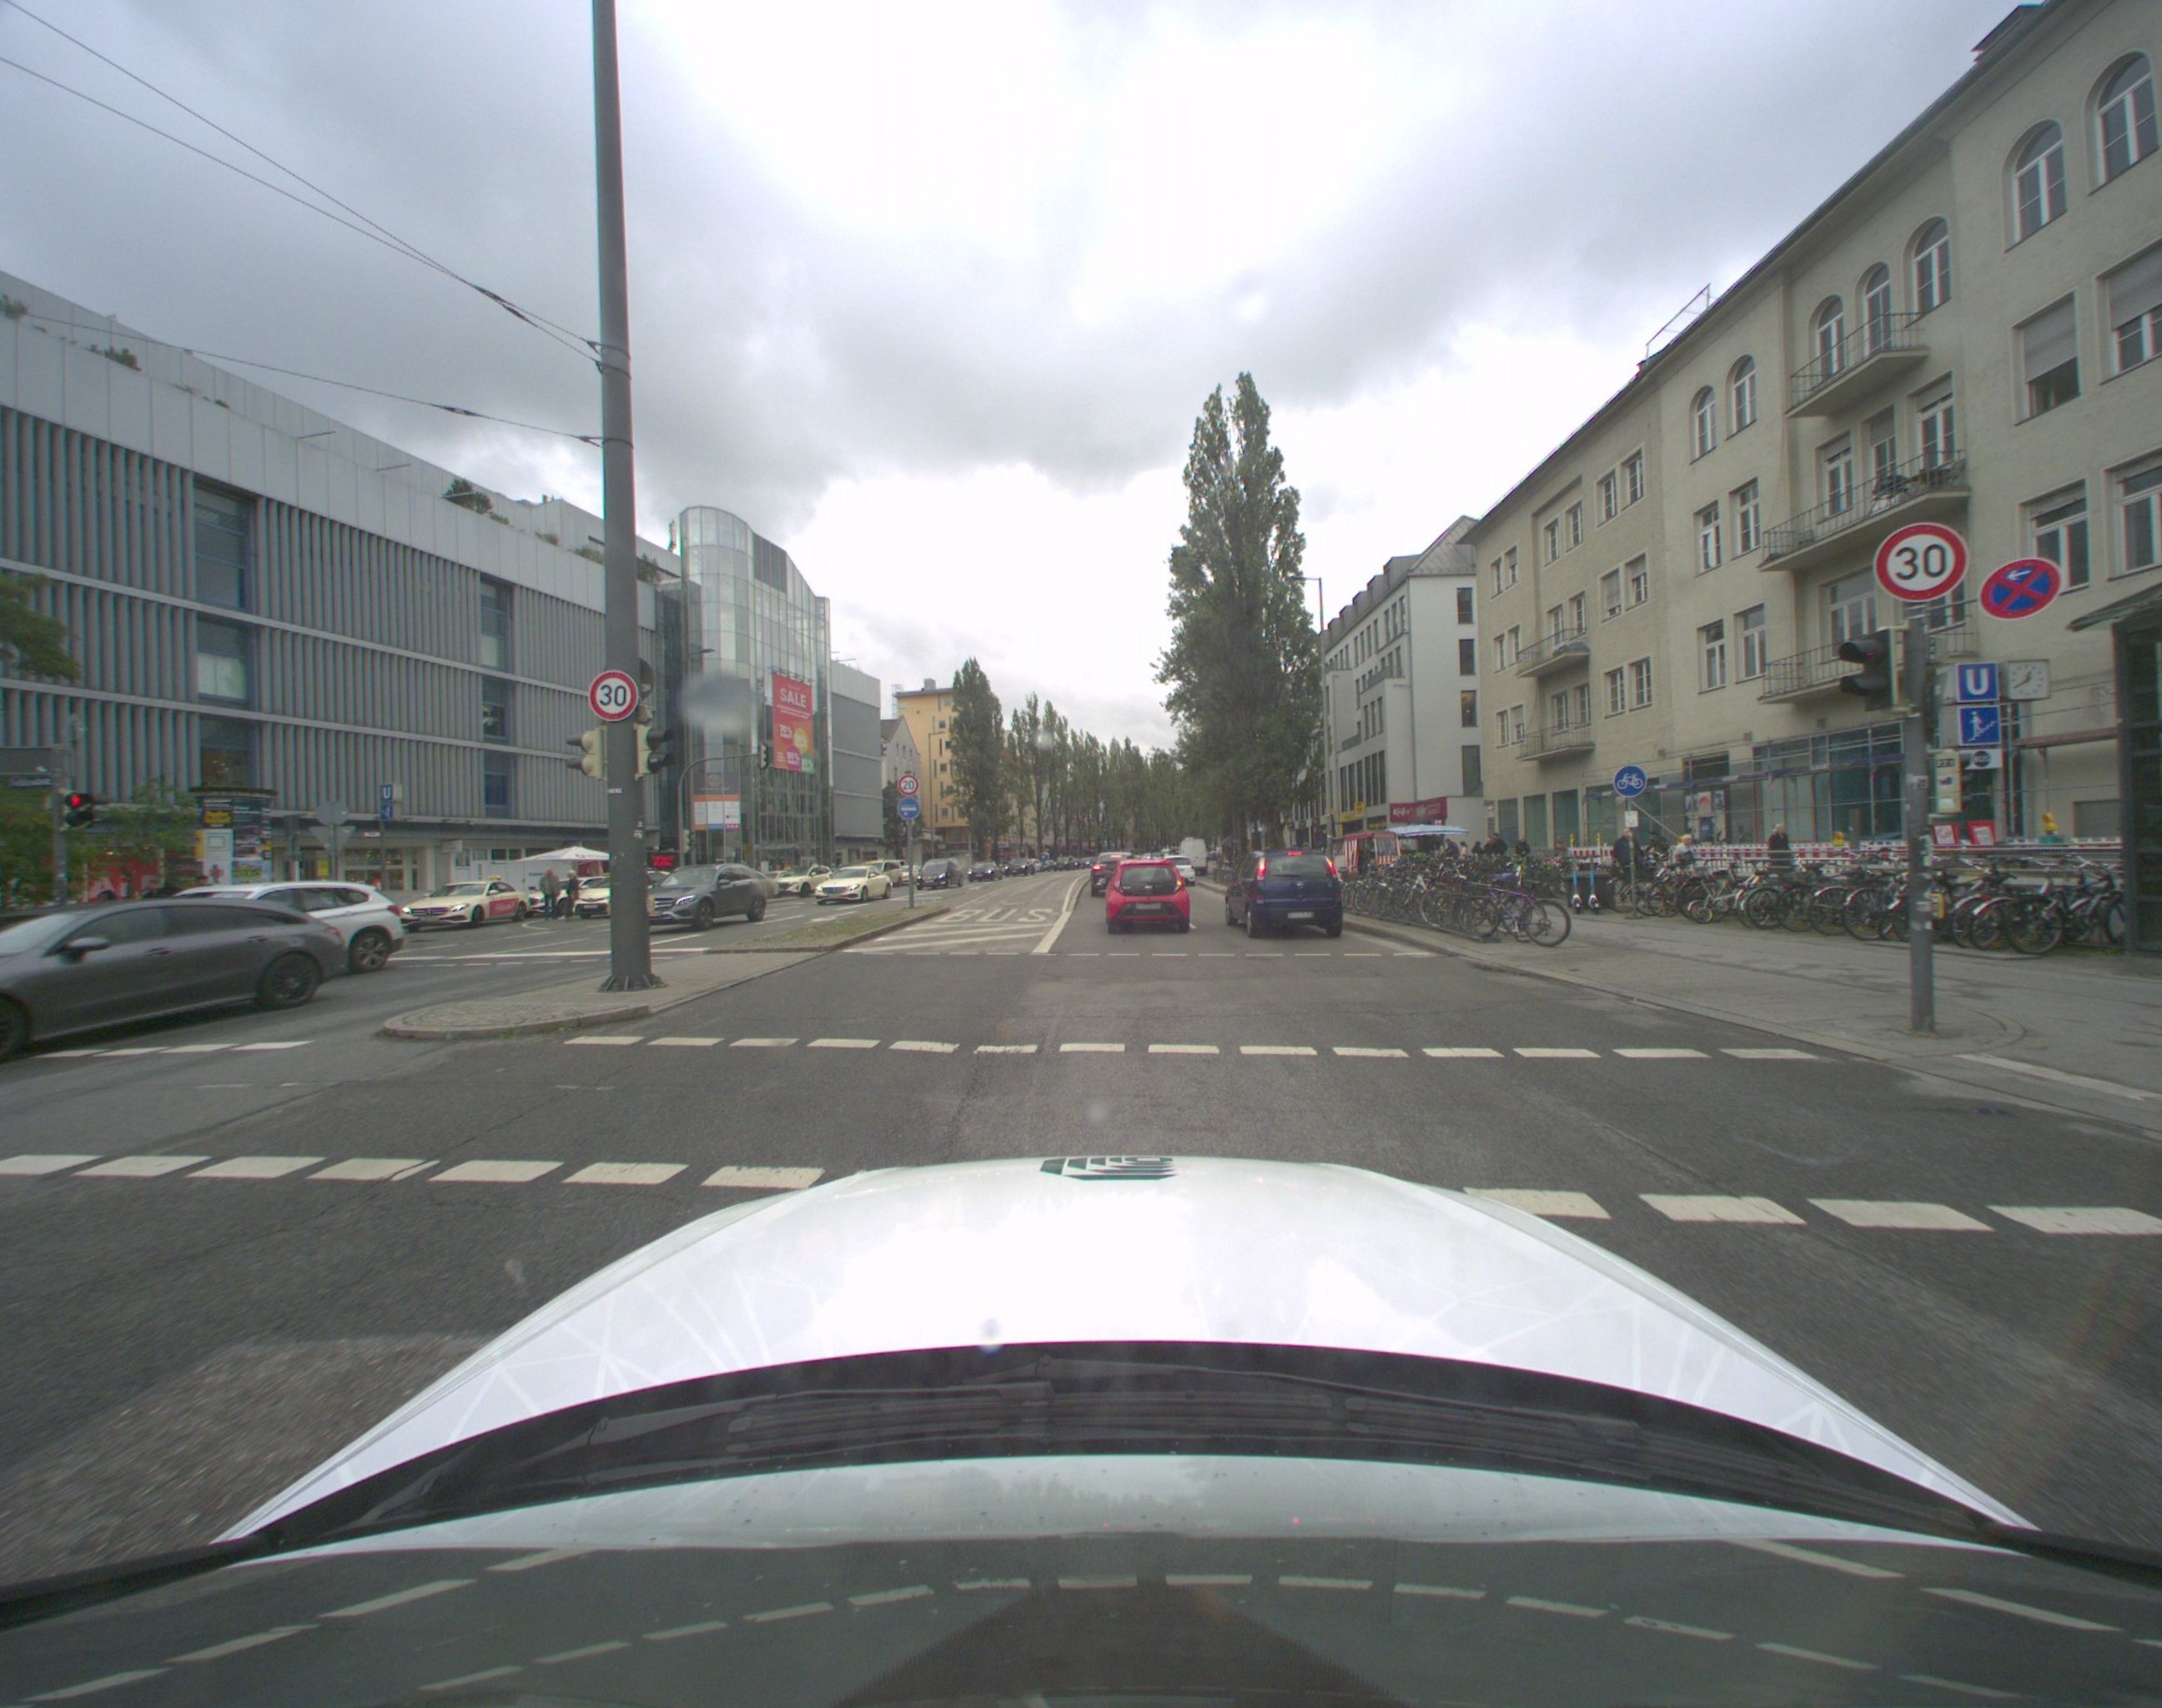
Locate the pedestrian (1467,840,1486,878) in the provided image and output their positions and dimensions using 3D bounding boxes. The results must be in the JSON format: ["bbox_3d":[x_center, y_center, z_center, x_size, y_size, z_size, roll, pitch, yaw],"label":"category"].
[{"bbox_3d":[15.863,0.188,32.671,0.573,1.505,0.620,-2,0,33],"label":"pedestrian"}]

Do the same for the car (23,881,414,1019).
[{"bbox_3d":[-12.858,1.317,12.594,1.692,1.596,4.000,-2,0,1],"label":"car"}]

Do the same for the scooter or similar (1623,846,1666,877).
[{"bbox_3d":[18.042,0.221,26.098,0.533,0.943,1.125,-3,0,0],"label":"scooter or similar"}]

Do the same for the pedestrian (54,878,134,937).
[{"bbox_3d":[-22.999,1.235,19.002,0.542,1.275,1.045,-2,0,3],"label":"pedestrian"}]

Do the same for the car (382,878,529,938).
[{"bbox_3d":[-19.634,1.633,25.845,1.996,1.536,4.395,-2,0,-13],"label":"car"}]

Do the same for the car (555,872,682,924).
[{"bbox_3d":[-16.712,1.541,29.726,1.893,1.543,4.396,-2,0,3],"label":"car"}]

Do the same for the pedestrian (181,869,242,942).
[{"bbox_3d":[-22.159,1.292,20.768,0.752,1.773,0.767,-2,0,-22],"label":"pedestrian"}]

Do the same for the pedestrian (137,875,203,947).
[{"bbox_3d":[-22.118,1.372,19.784,0.765,1.654,0.754,-2,0,13],"label":"pedestrian"}]

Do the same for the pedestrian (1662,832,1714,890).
[{"bbox_3d":[16.612,0.194,22.310,0.775,1.517,0.758,-3,0,0],"label":"pedestrian"}]

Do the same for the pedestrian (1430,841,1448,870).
[{"bbox_3d":[17.814,0.075,40.564,0.596,1.402,0.580,-2,0,2],"label":"pedestrian"}]

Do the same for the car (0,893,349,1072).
[{"bbox_3d":[-10.535,1.282,8.464,1.987,1.411,4.167,-4,0,0],"label":"car"}]

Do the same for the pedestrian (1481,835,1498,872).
[{"bbox_3d":[16.608,-0.023,33.096,0.501,1.484,0.468,-3,0,37],"label":"pedestrian"}]

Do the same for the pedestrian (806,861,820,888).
[{"bbox_3d":[-18.107,1.367,54.995,0.553,1.817,0.630,-2,0,13],"label":"pedestrian"}]

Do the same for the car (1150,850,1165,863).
[{"bbox_3d":[10.967,0.336,116.557,1.982,1.838,4.009,-2,0,8],"label":"car"}]

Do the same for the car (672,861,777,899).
[{"bbox_3d":[-15.856,1.106,36.523,1.981,1.508,4.649,-2,0,11],"label":"car"}]

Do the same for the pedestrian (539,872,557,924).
[{"bbox_3d":[-18.420,1.513,28.143,0.441,1.759,0.358,-2,0,37],"label":"pedestrian"}]

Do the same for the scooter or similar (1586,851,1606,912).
[{"bbox_3d":[10.527,0.547,16.656,0.297,1.176,1.285,-2,0,32],"label":"scooter or similar"}]

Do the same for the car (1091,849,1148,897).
[{"bbox_3d":[1.418,0.657,30.812,1.986,1.618,4.001,-2,0,1],"label":"car"}]

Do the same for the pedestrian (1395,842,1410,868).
[{"bbox_3d":[17.737,0.078,44.949,0.596,1.402,0.580,-2,0,2],"label":"pedestrian"}]

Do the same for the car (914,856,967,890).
[{"bbox_3d":[-7.955,1.050,46.445,1.928,1.738,4.592,-2,0,3],"label":"car"}]

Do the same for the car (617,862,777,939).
[{"bbox_3d":[-9.904,1.112,21.498,1.736,1.670,4.735,-3,0,3],"label":"car"}]

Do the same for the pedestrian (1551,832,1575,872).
[{"bbox_3d":[20.365,-0.078,34.406,0.638,1.644,0.563,-2,0,2],"label":"pedestrian"}]

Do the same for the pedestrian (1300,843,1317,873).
[{"bbox_3d":[13.573,0.234,48.557,0.787,1.727,0.764,-2,0,2],"label":"pedestrian"}]

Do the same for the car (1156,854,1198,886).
[{"bbox_3d":[4.609,0.747,39.449,1.693,1.426,3.498,-2,0,1],"label":"car"}]

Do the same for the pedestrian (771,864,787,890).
[{"bbox_3d":[-20.098,1.499,54.225,0.646,1.691,0.714,-2,0,14],"label":"pedestrian"}]

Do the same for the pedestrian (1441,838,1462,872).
[{"bbox_3d":[16.218,0.046,35.697,0.612,1.425,0.660,-2,0,7],"label":"pedestrian"}]

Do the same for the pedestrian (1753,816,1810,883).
[{"bbox_3d":[18.131,-0.111,21.097,0.748,1.650,0.758,-3,0,0],"label":"pedestrian"}]

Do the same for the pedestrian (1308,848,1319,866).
[{"bbox_3d":[17.983,0.221,62.962,0.636,1.306,0.676,-2,0,2],"label":"pedestrian"}]

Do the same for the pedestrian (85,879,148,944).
[{"bbox_3d":[-23.212,1.366,19.616,0.754,1.493,0.765,-2,0,-33],"label":"pedestrian"}]

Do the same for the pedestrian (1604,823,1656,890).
[{"bbox_3d":[14.674,0.073,21.790,0.809,1.727,0.759,-3,0,2],"label":"pedestrian"}]

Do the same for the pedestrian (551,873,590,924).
[{"bbox_3d":[-17.503,1.511,27.952,0.766,1.691,0.753,-2,0,7],"label":"pedestrian"}]

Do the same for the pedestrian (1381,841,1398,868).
[{"bbox_3d":[18.786,0.033,49.644,0.730,1.602,0.742,-2,0,2],"label":"pedestrian"}]

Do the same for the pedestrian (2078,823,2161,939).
[{"bbox_3d":[15.725,0.386,12.178,0.654,1.670,0.722,-3,0,3],"label":"pedestrian"}]

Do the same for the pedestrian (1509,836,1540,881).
[{"bbox_3d":[17.606,0.173,32.352,0.739,1.727,0.759,-3,0,2],"label":"pedestrian"}]

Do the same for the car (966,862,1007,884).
[{"bbox_3d":[-6.867,1.349,59.626,1.835,1.382,4.610,-2,0,7],"label":"car"}]

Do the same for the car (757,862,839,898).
[{"bbox_3d":[-14.601,1.318,42.294,1.979,1.679,4.200,-2,0,14],"label":"car"}]

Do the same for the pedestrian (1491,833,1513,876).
[{"bbox_3d":[16.593,0.012,32.093,0.594,1.669,0.690,-3,0,37],"label":"pedestrian"}]

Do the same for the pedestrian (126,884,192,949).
[{"bbox_3d":[-23.011,1.544,20.335,0.765,1.554,0.754,-2,0,10],"label":"pedestrian"}]

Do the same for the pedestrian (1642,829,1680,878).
[{"bbox_3d":[19.015,-0.027,26.694,0.646,1.568,0.788,-2,0,3],"label":"pedestrian"}]

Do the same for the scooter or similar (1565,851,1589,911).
[{"bbox_3d":[10.339,0.549,16.972,0.360,1.176,1.356,-2,0,32],"label":"scooter or similar"}]

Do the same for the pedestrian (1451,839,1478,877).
[{"bbox_3d":[16.007,0.160,33.985,0.801,1.522,0.805,-2,0,35],"label":"pedestrian"}]

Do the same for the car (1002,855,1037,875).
[{"bbox_3d":[-5.288,0.947,70.295,1.982,1.534,4.598,-2,0,8],"label":"car"}]
